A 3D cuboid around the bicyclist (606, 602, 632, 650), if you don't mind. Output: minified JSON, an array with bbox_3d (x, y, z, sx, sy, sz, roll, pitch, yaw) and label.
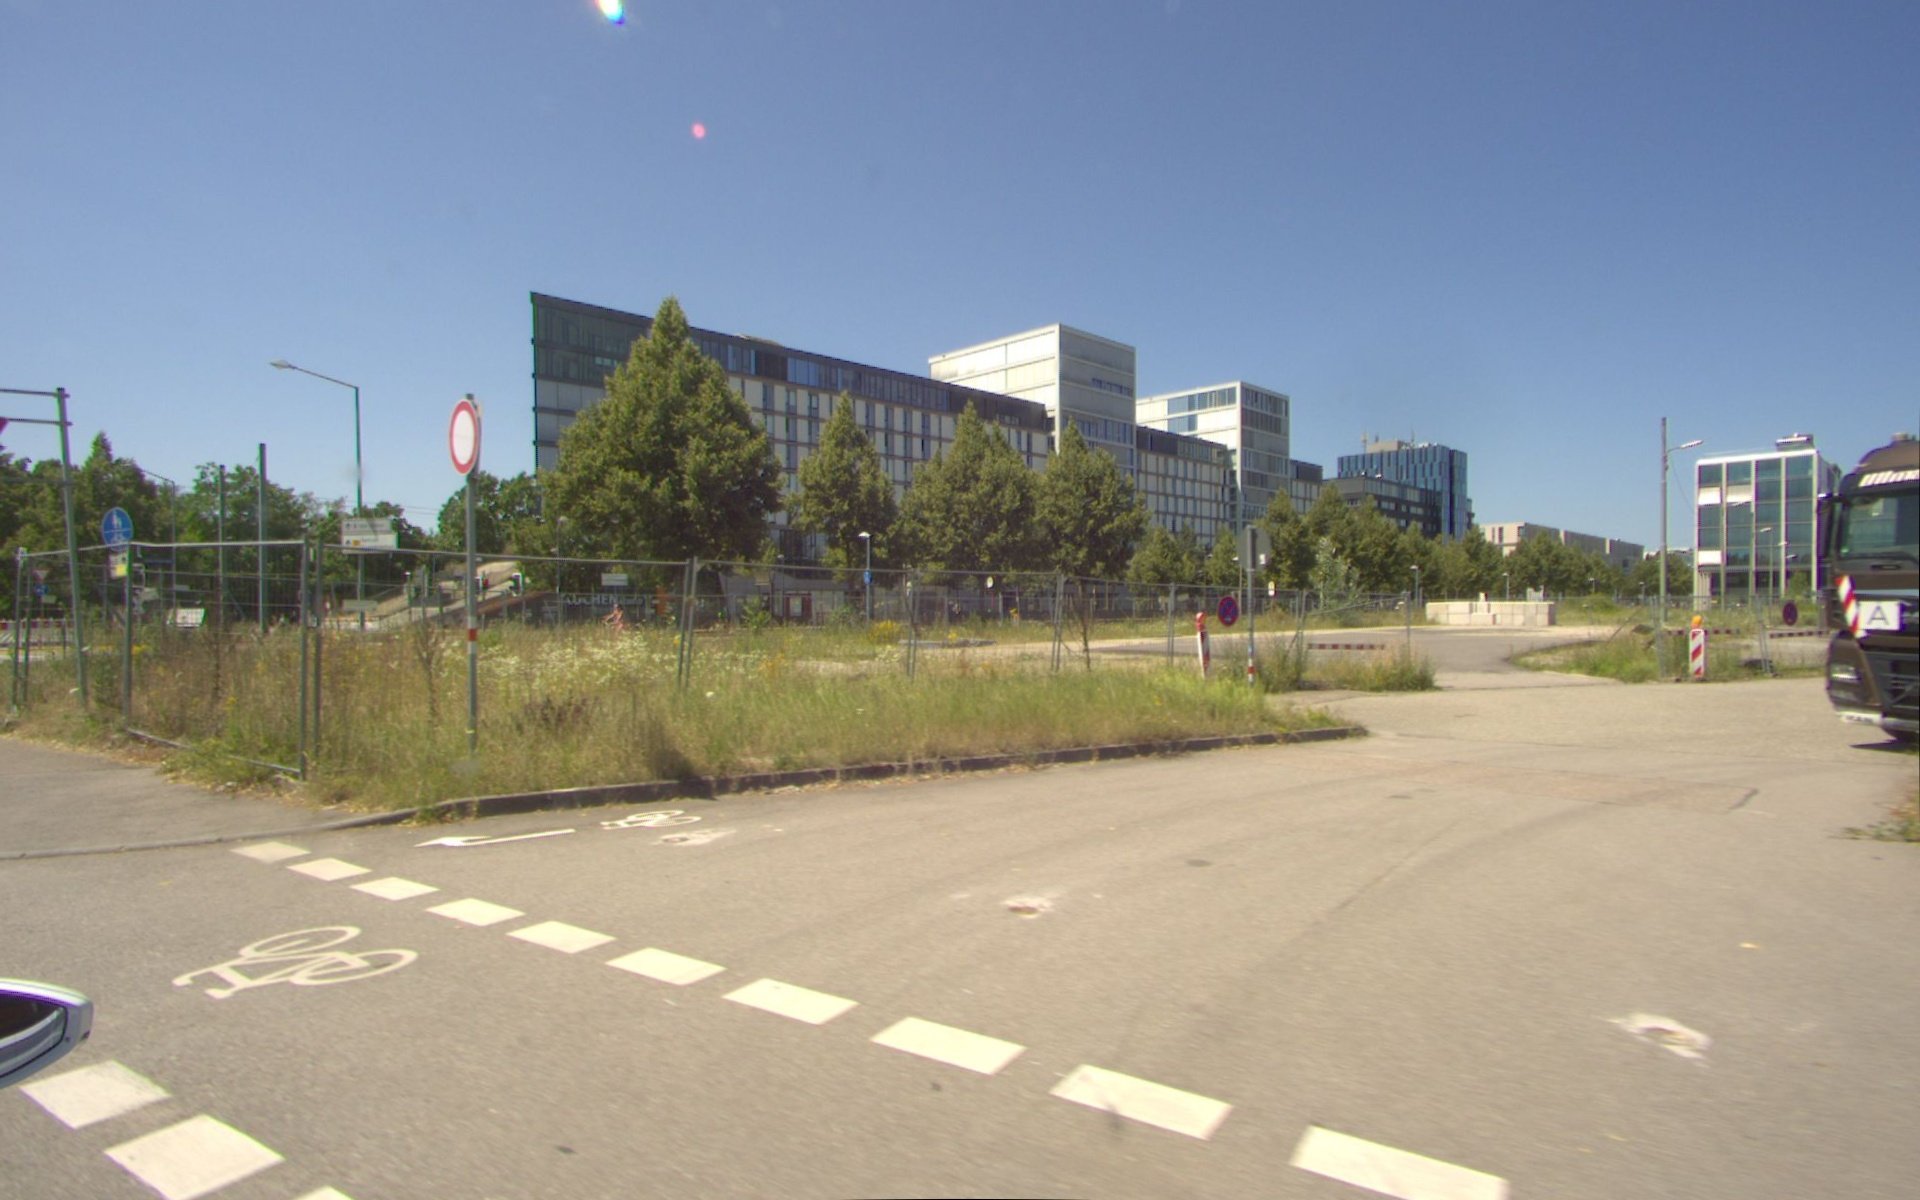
[{"bbox_3d":[-12.165,0.915,35.726,0.633,1.686,0.710,-2,0,0],"label":"bicyclist"}]

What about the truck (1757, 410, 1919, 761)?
[{"bbox_3d":[12.117,-0.144,10.891,4.876,3.579,3.159,0,0,-16],"label":"truck"}]
